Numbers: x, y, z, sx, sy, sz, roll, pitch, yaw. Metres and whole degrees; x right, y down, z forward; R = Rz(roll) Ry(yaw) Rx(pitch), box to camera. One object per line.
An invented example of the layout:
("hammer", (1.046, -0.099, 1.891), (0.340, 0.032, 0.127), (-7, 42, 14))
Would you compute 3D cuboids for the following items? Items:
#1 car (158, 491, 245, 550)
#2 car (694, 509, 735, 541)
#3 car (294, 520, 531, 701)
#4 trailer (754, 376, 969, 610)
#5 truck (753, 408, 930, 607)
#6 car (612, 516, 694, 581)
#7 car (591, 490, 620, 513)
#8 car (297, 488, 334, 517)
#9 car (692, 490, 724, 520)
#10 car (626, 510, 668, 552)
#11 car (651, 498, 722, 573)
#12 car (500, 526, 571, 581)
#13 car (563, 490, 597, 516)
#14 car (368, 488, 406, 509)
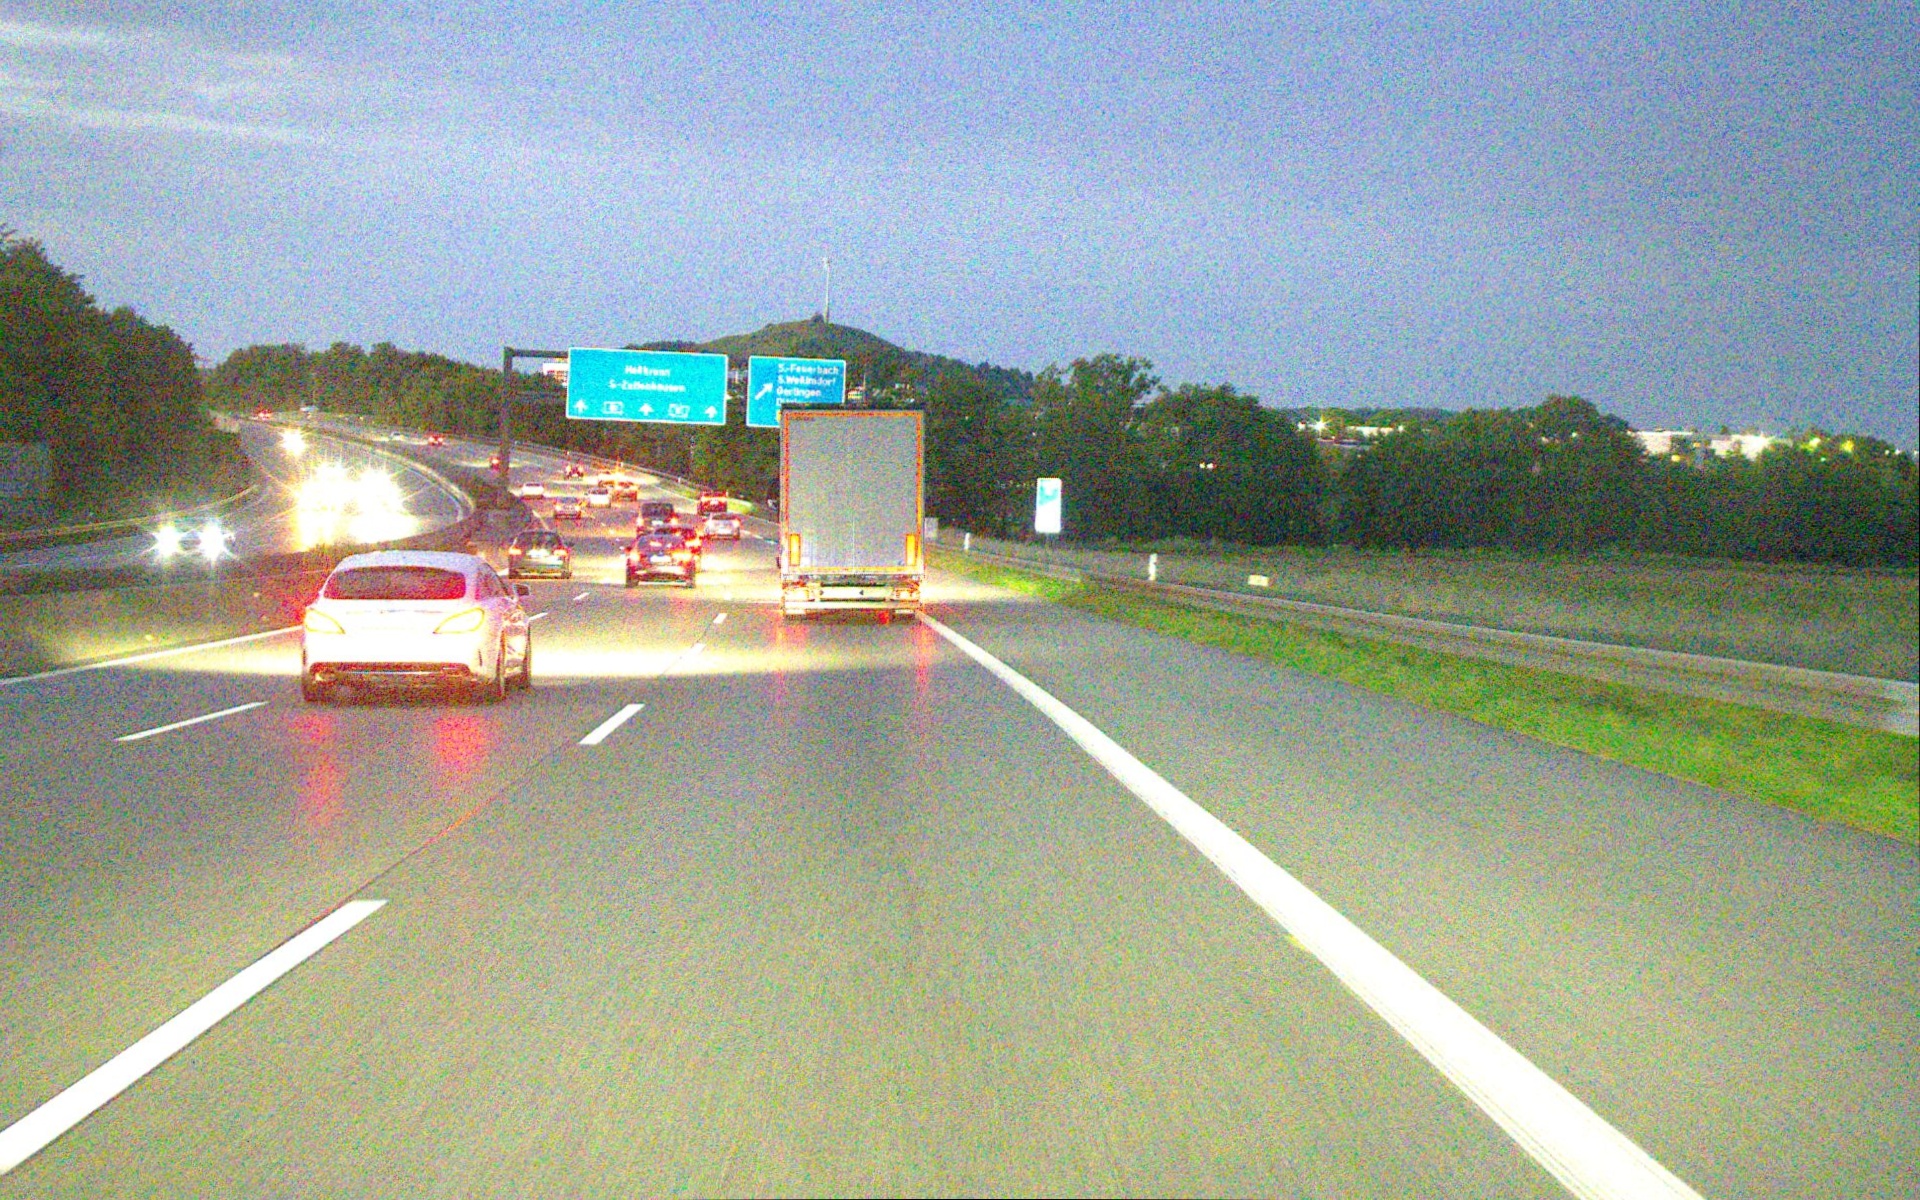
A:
("car", (-25.209, -2.631, 114.427), (1.912, 1.861, 6.016), (1, 1, -4))
("car", (-12.502, -3.803, 174.856), (1.993, 1.529, 4.001), (1, 1, -4))
("car", (-5.264, 0.064, 33.575), (1.906, 1.609, 4.804), (1, 1, -5))
("trailer", (-2.205, -1.949, 68.725), (3.549, 4.102, 15.065), (1, 0, -4))
("truck", (-2.651, -1.954, 74.617), (3.550, 4.077, 6.152), (1, 0, -4))
("car", (-8.275, -1.393, 92.959), (2.065, 1.680, 4.577), (1, 1, -3))
("car", (-26.464, -7.309, 256.626), (1.993, 1.616, 4.001), (1, 1, -7))
("car", (-44.242, -6.658, 236.146), (1.993, 1.887, 5.059), (1, 1, -5))
("car", (-17.177, -6.484, 234.268), (1.993, 1.971, 4.001), (1, 1, -6))
("car", (-15.336, -3.374, 168.196), (1.993, 2.007, 4.001), (1, 1, -6))
("car", (-8.942, -2.116, 112.705), (1.993, 2.372, 4.000), (1, 1, -1))
("car", (-12.781, -1.398, 103.737), (1.761, 1.569, 4.577), (1, 1, -3))
("car", (-24.613, -6.286, 222.838), (1.993, 1.616, 4.001), (1, 1, -4))
("car", (-38.545, -6.820, 231.328), (2.059, 1.221, 5.235), (1, 1, -4))
